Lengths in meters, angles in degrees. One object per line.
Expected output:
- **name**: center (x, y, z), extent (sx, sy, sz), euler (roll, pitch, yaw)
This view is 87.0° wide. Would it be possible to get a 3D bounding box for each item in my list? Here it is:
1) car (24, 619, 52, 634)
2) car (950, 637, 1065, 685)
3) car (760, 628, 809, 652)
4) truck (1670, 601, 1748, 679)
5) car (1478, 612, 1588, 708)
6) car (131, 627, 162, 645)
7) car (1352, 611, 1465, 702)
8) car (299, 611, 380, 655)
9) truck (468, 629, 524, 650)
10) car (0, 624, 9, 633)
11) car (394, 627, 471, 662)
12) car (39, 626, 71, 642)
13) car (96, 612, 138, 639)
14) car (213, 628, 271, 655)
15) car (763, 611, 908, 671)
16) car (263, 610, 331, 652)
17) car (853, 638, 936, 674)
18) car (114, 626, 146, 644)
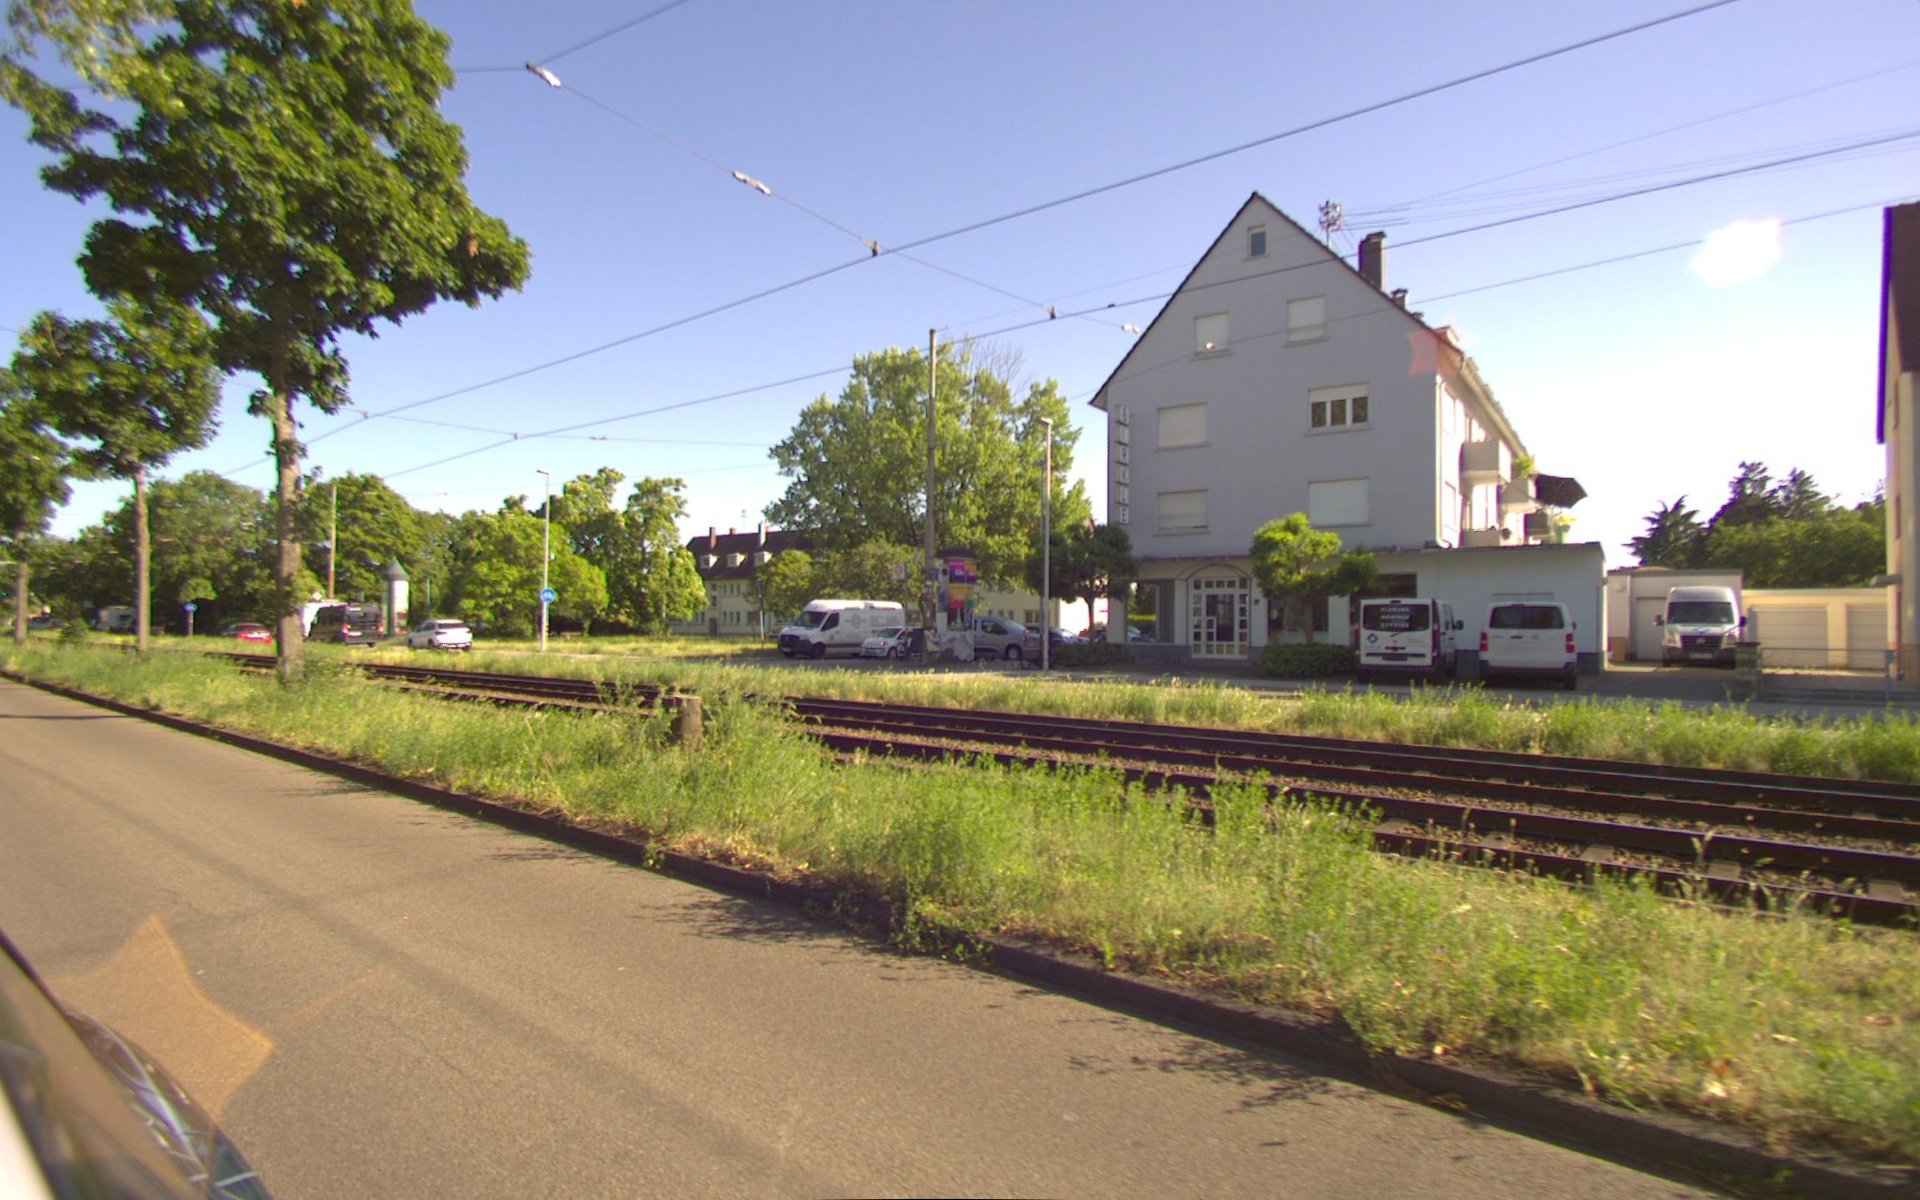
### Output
- **car**: center (-104.163, 2.973, 114.283), extent (4.979, 1.757, 1.791), euler (-1, -1, 41)
- **car**: center (1.815, 2.319, 38.988), extent (4.087, 1.683, 1.781), euler (-1, -1, 33)
- **car**: center (-15.513, 3.491, 89.528), extent (3.988, 2.029, 1.978), euler (0, -1, 33)
- **truck**: center (23.655, 1.207, 32.031), extent (1.865, 2.307, 3.951), euler (-1, -1, 36)
- **car**: center (13.035, 1.299, 23.035), extent (1.992, 1.967, 4.108), euler (-1, -2, 30)
- **car**: center (-74.173, 3.235, 92.257), extent (4.248, 1.596, 1.656), euler (-1, -1, 43)
- **car**: center (10.933, 1.301, 24.507), extent (1.992, 1.960, 4.584), euler (-1, -2, 30)
- **car**: center (-36.001, 1.875, 58.629), extent (6.462, 2.394, 2.160), euler (-1, -1, 41)
- **truck**: center (-45.007, 3.789, 98.337), extent (2.069, 1.883, 4.907), euler (-1, -1, 21)
- **car**: center (-157.569, 4.666, 166.177), extent (4.441, 1.539, 1.708), euler (-1, -1, 42)
- **car**: center (-26.100, 2.176, 50.041), extent (4.772, 1.619, 1.803), euler (-1, -1, 42)
- **car**: center (-90.390, 3.397, 101.057), extent (3.750, 1.543, 1.972), euler (-1, -2, 42)
- **car**: center (-84.994, 2.586, 101.969), extent (6.795, 2.600, 2.202), euler (-2, -2, 41)
- **car**: center (-39.242, 2.252, 55.299), extent (3.998, 1.420, 1.659), euler (-1, -2, 41)
- **car**: center (-5.480, 1.781, 45.737), extent (2.326, 2.526, 7.001), euler (-2, -2, 36)
- **car**: center (-41.935, 1.930, 63.913), extent (6.133, 2.515, 1.981), euler (-1, -1, 41)
- **car**: center (-2.844, 2.411, 44.254), extent (1.747, 1.489, 3.581), euler (-1, -2, 36)
- **car**: center (-79.465, 3.323, 96.917), extent (4.530, 1.635, 1.605), euler (-1, -1, 41)
